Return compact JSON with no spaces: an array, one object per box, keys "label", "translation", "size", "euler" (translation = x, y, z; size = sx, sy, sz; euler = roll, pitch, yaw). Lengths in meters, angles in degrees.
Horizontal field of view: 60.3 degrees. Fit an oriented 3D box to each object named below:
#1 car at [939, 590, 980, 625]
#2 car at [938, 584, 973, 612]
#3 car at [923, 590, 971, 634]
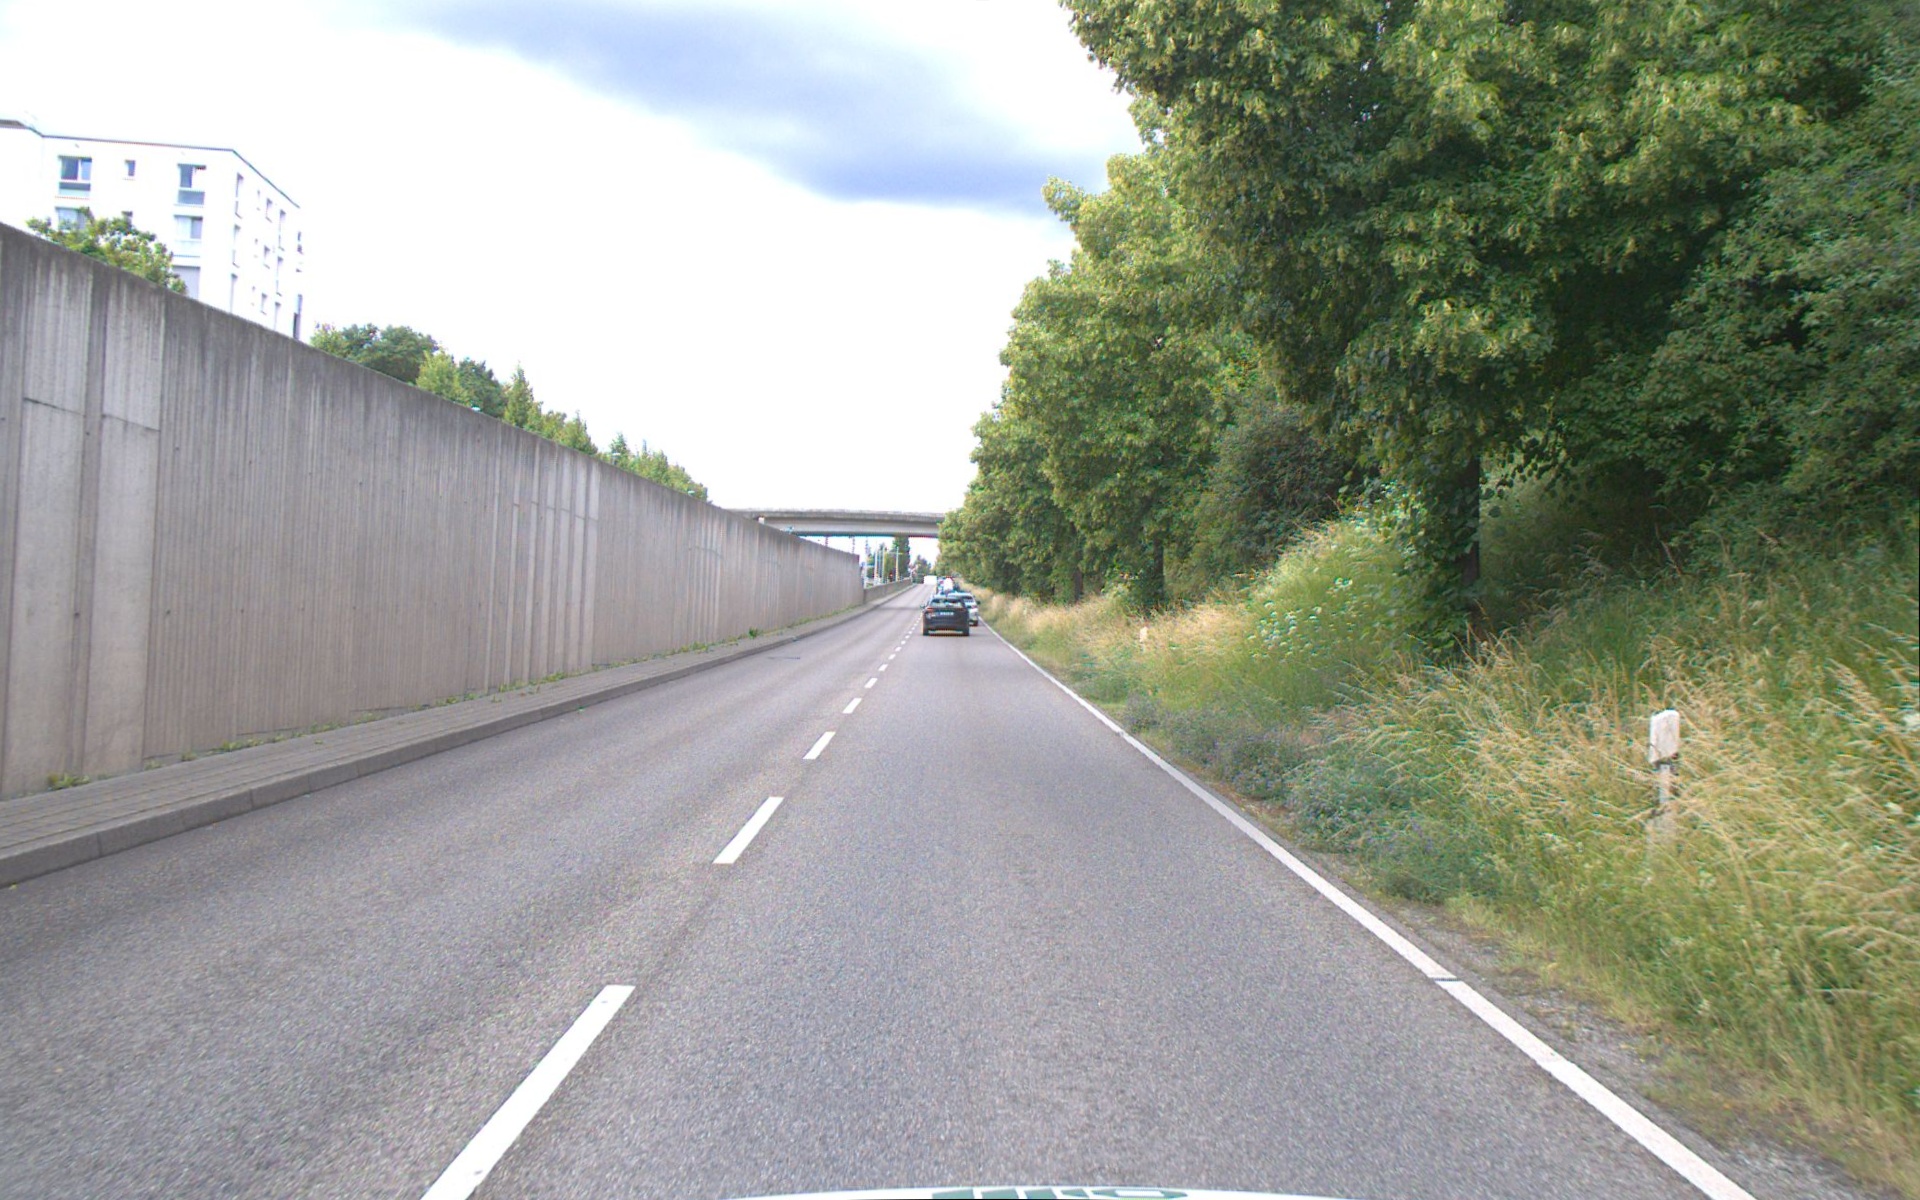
[{"label":"car","translation":[-0.041,0.344,76.872],"size":[1.719,1.550,4.035],"euler":[-1,0,-2]},{"label":"car","translation":[-0.303,-0.124,98.080],"size":[1.829,1.516,4.255],"euler":[4,0,-2]},{"label":"car","translation":[-0.507,0.423,61.702],"size":[1.718,1.550,4.036],"euler":[0,1,-1]}]
